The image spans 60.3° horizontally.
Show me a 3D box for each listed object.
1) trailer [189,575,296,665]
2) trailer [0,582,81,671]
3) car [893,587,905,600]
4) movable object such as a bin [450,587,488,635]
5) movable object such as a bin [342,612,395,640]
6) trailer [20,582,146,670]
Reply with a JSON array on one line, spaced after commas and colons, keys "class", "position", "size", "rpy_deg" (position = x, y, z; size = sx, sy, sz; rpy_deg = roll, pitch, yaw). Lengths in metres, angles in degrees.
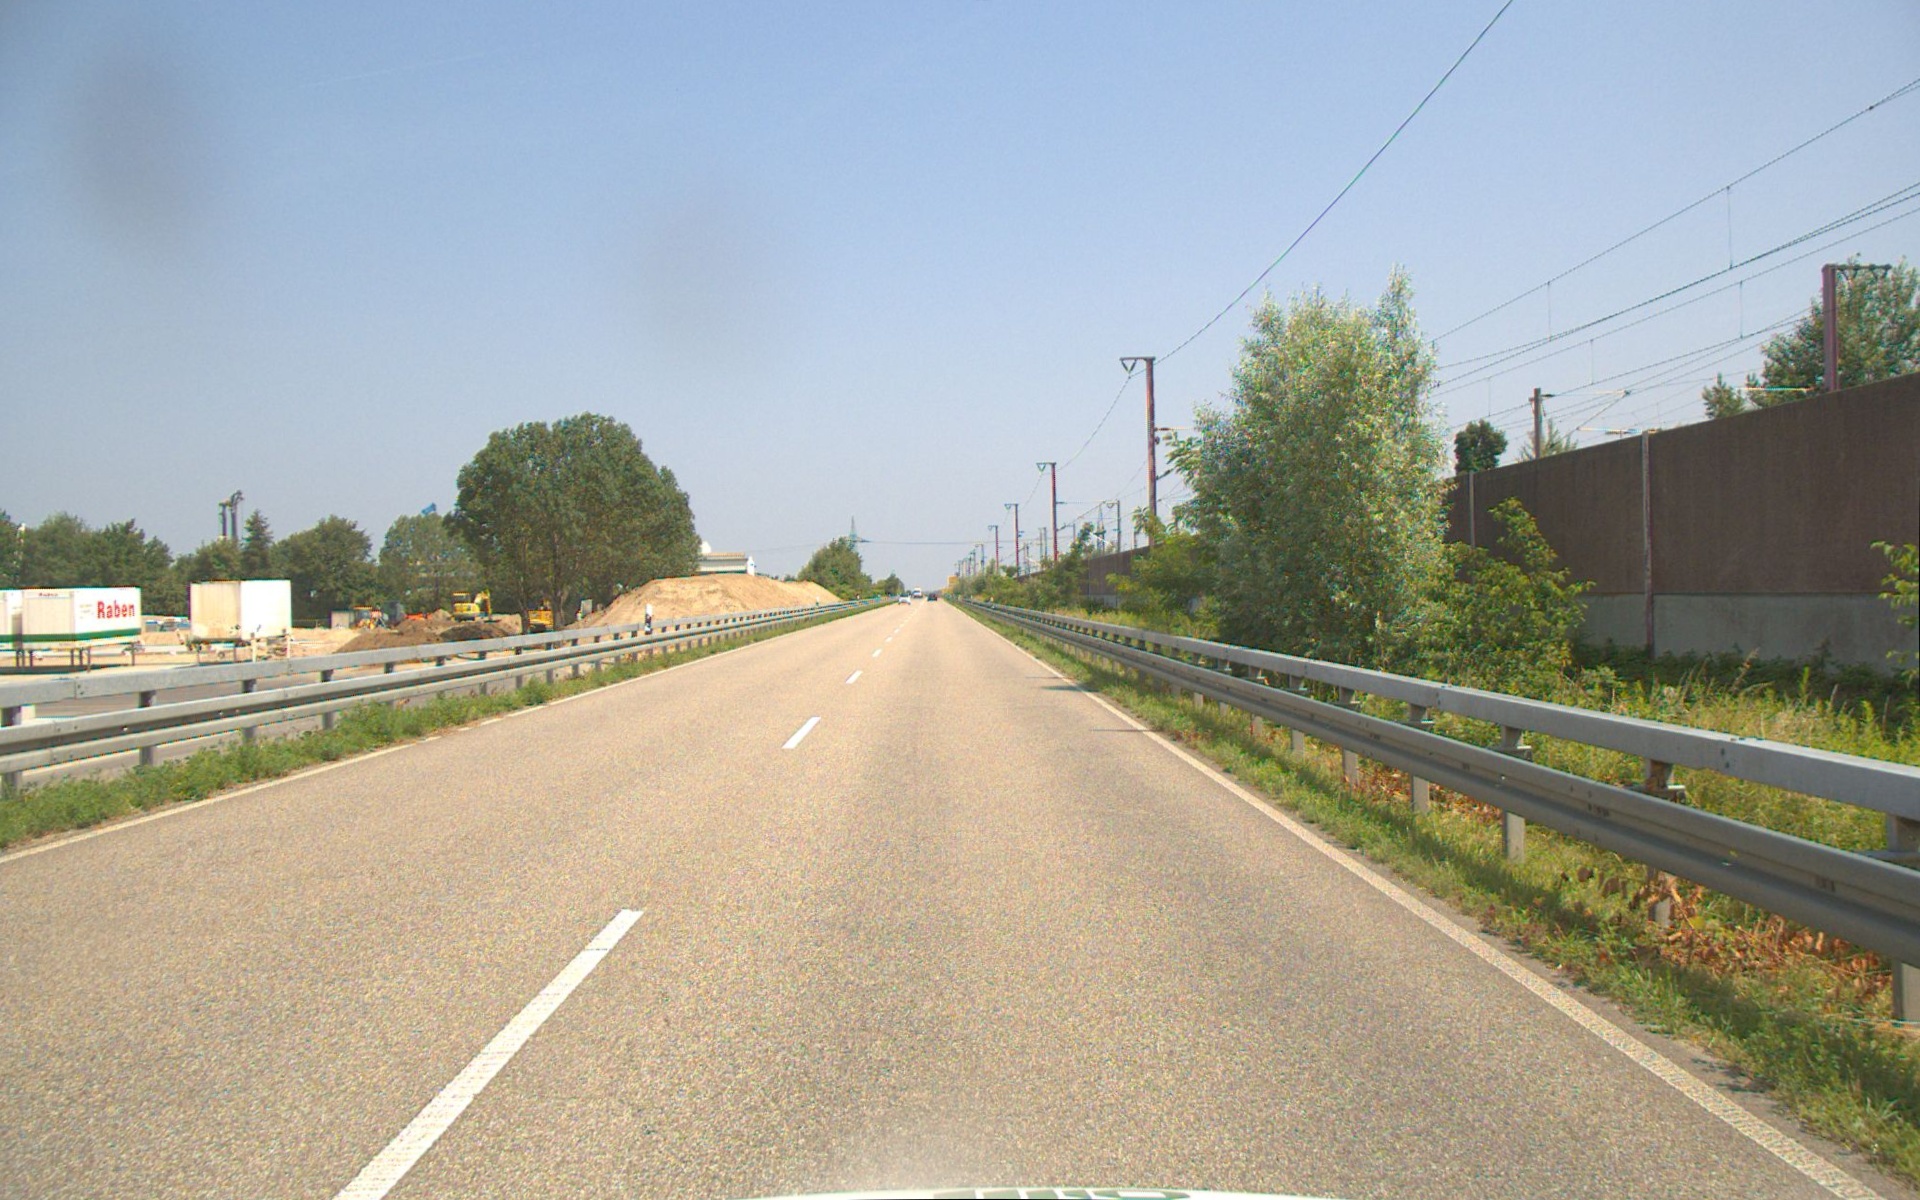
[{"class": "trailer", "position": [-36.778, 0.921, 85.102], "size": [2.627, 4.408, 7.945], "rpy_deg": [0, 1, -5]}, {"class": "trailer", "position": [-47.971, 1.274, 84.165], "size": [2.798, 4.292, 7.533], "rpy_deg": [0, 1, -4]}, {"class": "car", "position": [-7.993, -0.837, 217.082], "size": [1.563, 1.603, 3.827], "rpy_deg": [0, 1, -2]}, {"class": "movable object such as a bin", "position": [-40.412, 0.930, 135.993], "size": [2.582, 3.716, 5.429], "rpy_deg": [-3, 0, -20]}, {"class": "movable object such as a bin", "position": [-49.115, 2.176, 137.441], "size": [3.922, 2.048, 1.992], "rpy_deg": [-3, 0, -15]}, {"class": "trailer", "position": [-44.827, 1.235, 84.836], "size": [2.689, 4.220, 7.893], "rpy_deg": [0, 1, -4]}]
